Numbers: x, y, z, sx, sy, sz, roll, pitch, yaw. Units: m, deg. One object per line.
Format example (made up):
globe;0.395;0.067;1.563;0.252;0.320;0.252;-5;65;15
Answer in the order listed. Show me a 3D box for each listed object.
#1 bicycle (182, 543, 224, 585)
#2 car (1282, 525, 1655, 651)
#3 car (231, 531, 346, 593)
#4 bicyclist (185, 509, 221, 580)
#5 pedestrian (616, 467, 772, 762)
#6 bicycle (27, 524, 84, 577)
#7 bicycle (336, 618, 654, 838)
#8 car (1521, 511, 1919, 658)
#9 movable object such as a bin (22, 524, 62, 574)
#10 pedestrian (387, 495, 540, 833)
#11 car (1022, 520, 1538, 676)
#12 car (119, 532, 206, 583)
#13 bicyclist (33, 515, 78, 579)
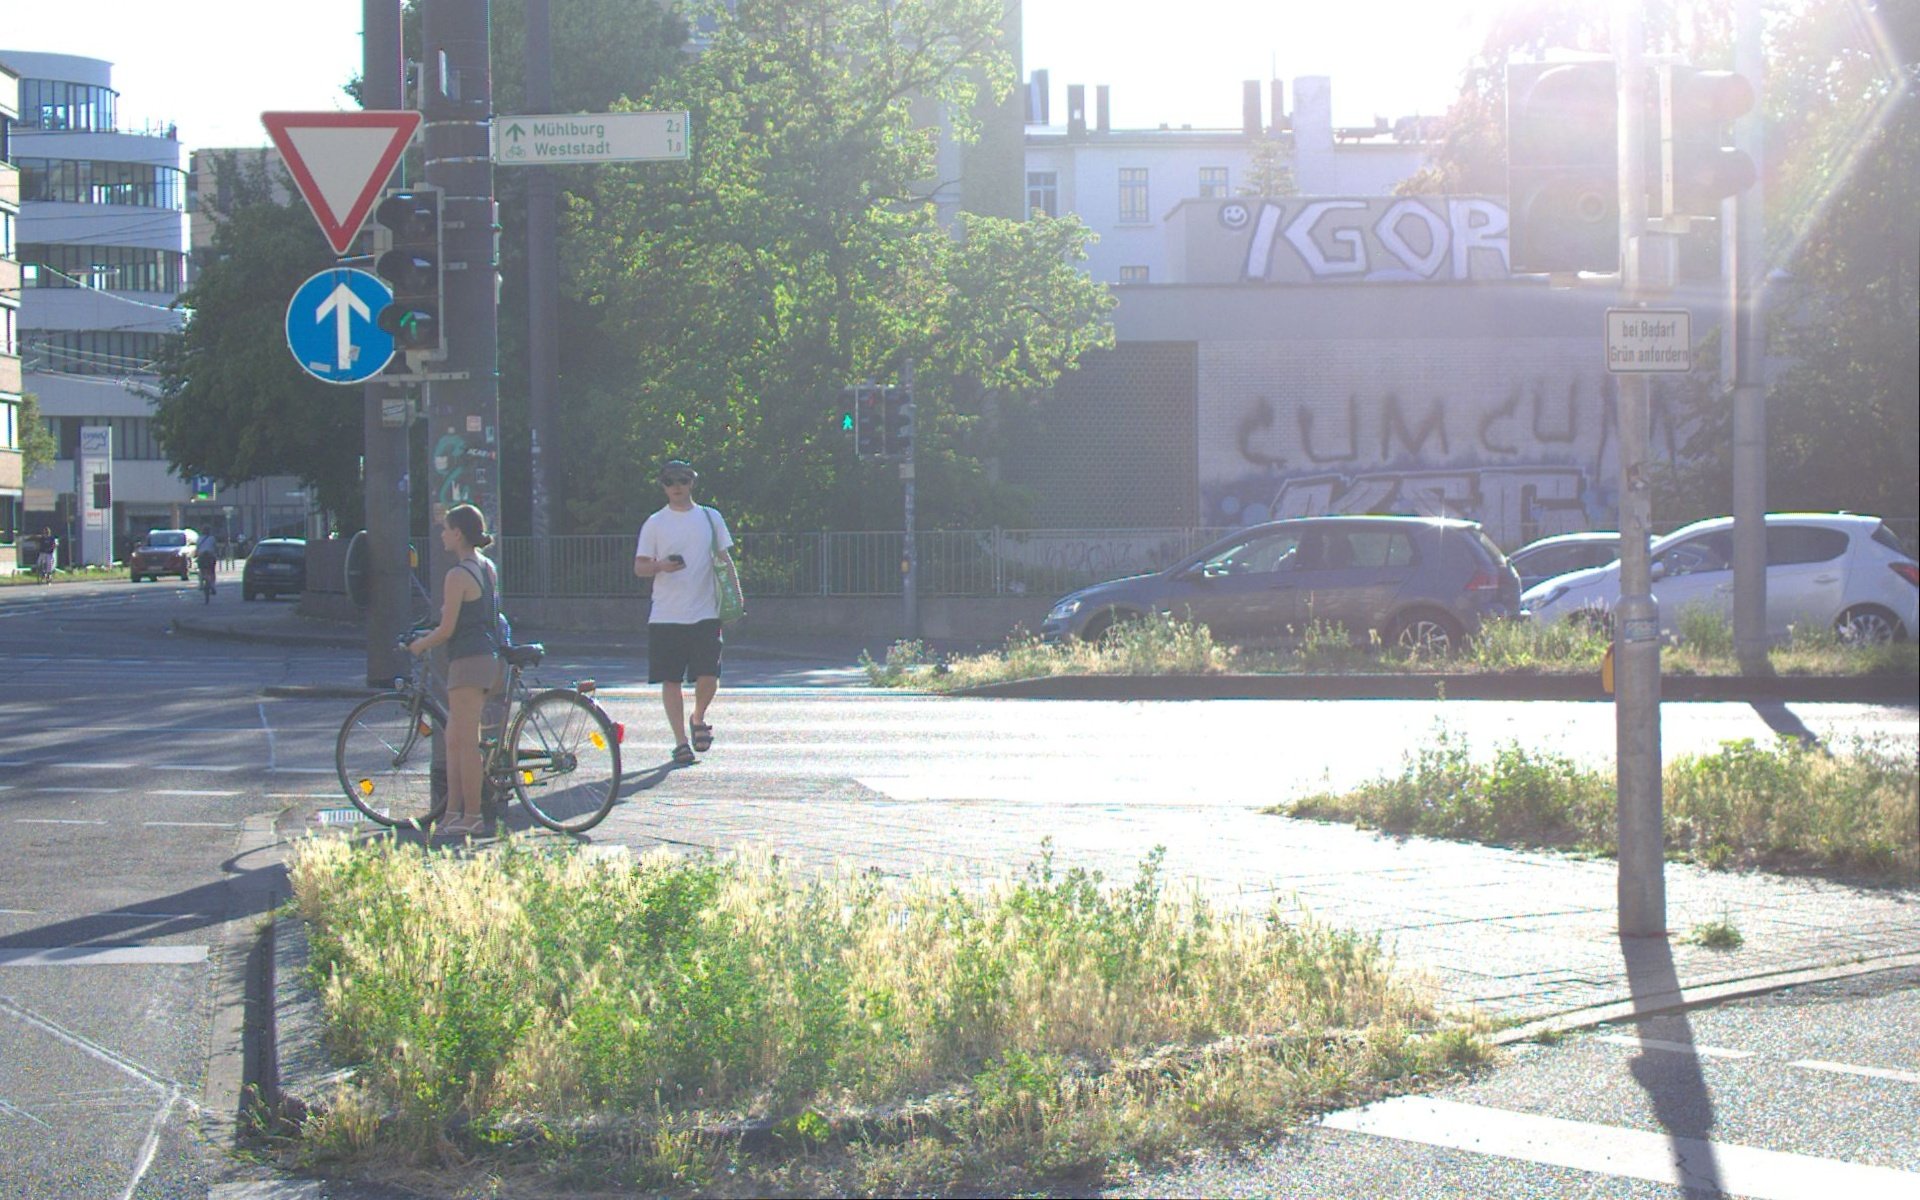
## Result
bicycle;-16.243;-0.771;73.777;0.694;0.874;2.027;-1;1;-7
car;5.521;-0.134;37.144;3.883;1.292;1.723;-1;1;12
car;-15.504;-0.895;79.556;1.785;1.383;4.000;-1;1;1
bicyclist;-16.266;-1.192;73.878;0.673;1.517;0.814;-1;1;-8
pedestrian;-1.638;0.080;21.305;0.908;1.783;0.827;-1;1;-3
bicycle;-28.646;-1.559;108.918;1.030;1.645;2.560;-1;1;2
bicycle;-2.294;0.608;16.873;1.669;1.025;0.399;0;1;33
car;7.309;-0.157;32.467;3.883;1.315;1.723;-1;1;12
movable object such as a bin;-30.344;-1.687;113.677;1.066;1.623;0.889;-1;1;-2
pedestrian;-2.432;0.301;16.858;0.525;1.626;0.488;0;1;32
car;2.816;-0.025;30.033;4.238;1.292;1.723;0;1;15
car;-25.956;-1.401;112.024;1.815;1.609;4.466;-1;1;-1
bicyclist;-28.655;-1.669;108.945;1.030;2.007;1.247;1;0;1
